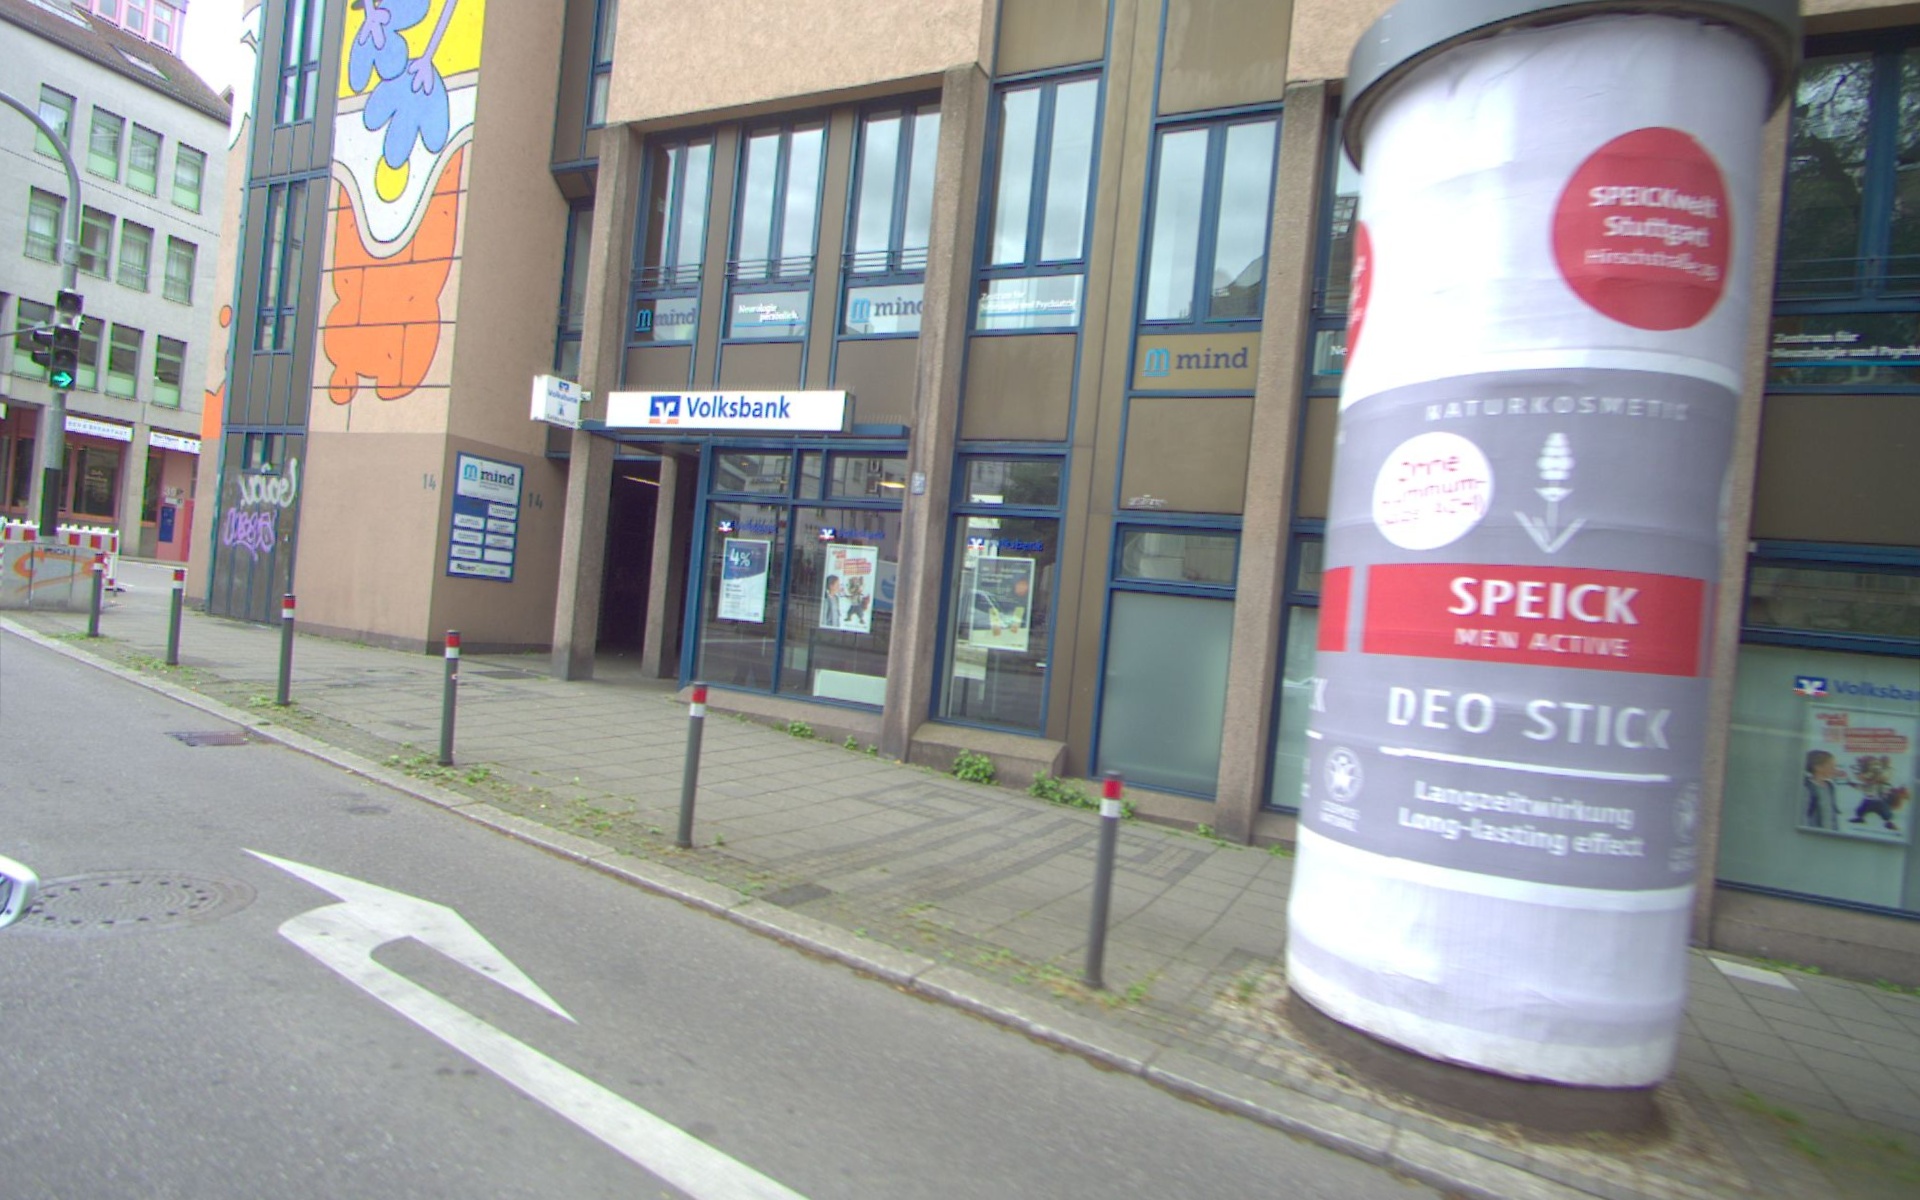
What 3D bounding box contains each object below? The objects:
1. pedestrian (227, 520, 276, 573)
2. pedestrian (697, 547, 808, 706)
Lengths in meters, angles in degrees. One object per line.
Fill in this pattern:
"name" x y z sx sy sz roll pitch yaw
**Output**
"pedestrian" -25.498 -1.919 36.236 1.111 1.733 0.852 7 0 -22
"pedestrian" -2.445 0.322 11.894 0.781 1.742 0.771 7 0 30
